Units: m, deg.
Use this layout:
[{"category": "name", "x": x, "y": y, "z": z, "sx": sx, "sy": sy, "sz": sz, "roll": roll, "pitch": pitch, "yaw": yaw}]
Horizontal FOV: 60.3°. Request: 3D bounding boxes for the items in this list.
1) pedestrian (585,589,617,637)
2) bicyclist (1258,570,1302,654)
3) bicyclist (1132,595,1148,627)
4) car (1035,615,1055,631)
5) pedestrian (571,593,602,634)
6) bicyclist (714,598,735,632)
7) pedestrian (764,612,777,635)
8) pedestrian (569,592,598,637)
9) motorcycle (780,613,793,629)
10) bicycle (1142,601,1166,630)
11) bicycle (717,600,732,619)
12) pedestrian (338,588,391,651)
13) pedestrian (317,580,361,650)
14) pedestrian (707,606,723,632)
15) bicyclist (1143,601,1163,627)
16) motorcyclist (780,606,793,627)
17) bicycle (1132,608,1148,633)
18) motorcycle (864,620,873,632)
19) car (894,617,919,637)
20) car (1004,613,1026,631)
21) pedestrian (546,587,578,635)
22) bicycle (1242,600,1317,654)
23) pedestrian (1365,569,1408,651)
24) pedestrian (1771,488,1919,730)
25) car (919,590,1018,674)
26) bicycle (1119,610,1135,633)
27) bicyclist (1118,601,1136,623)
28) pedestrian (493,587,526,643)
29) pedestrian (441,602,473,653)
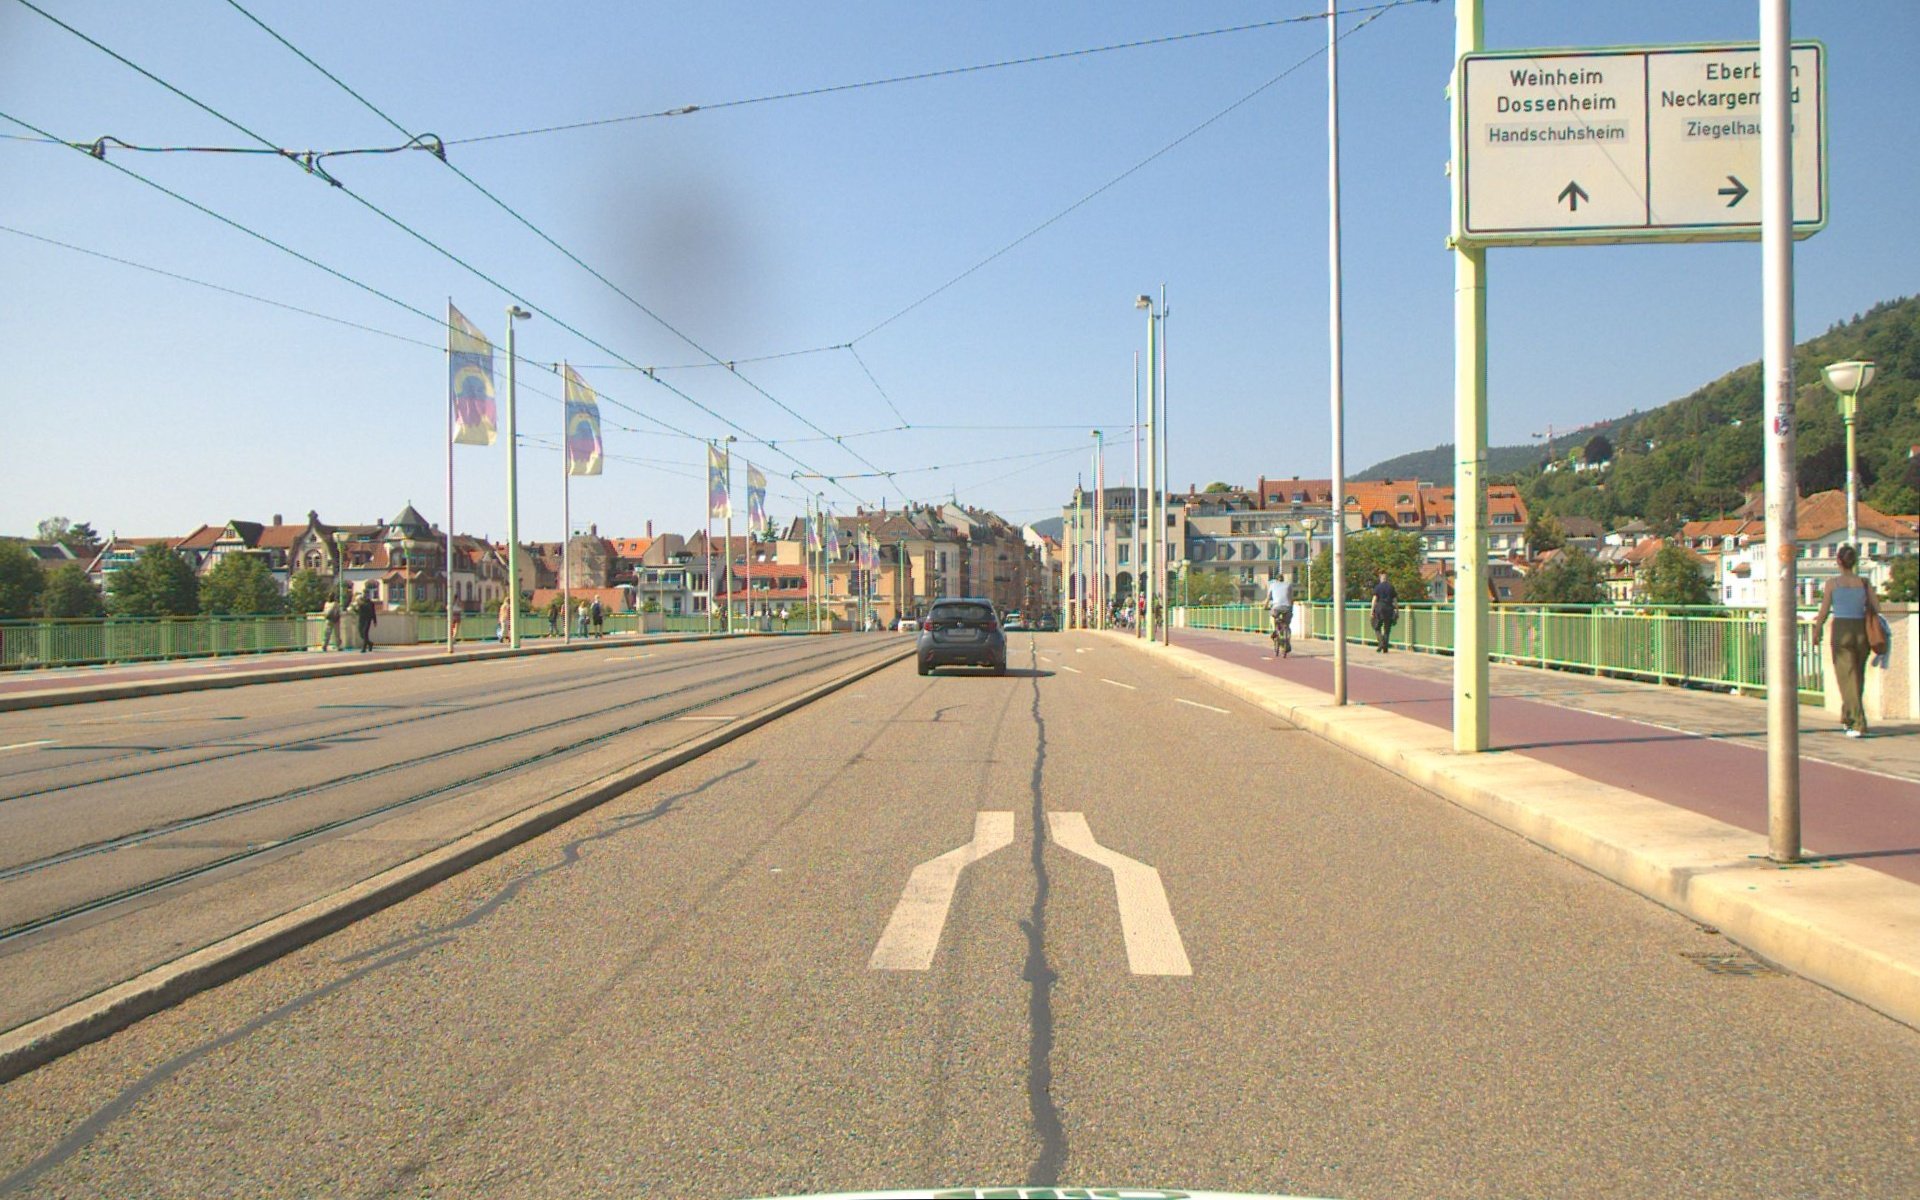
[{"category": "pedestrian", "x": -15.654, "y": 0.553, "z": 72.118, "sx": 1.075, "sy": 2.049, "sz": 1.295, "roll": 0, "pitch": 0, "yaw": 0}, {"category": "bicyclist", "x": 6.911, "y": 0.256, "z": 35.721, "sx": 0.659, "sy": 1.774, "sz": 1.150, "roll": -1, "pitch": 0, "yaw": -2}, {"category": "bicyclist", "x": 9.360, "y": 0.592, "z": 86.105, "sx": 0.720, "sy": 1.664, "sz": 0.867, "roll": -1, "pitch": -1, "yaw": 0}, {"category": "car", "x": 8.351, "y": 2.262, "z": 161.931, "sx": 1.766, "sy": 1.494, "sz": 4.002, "roll": -2, "pitch": -1, "yaw": 4}, {"category": "pedestrian", "x": -16.203, "y": 0.582, "z": 71.771, "sx": 1.075, "sy": 1.759, "sz": 1.295, "roll": 0, "pitch": 0, "yaw": 0}, {"category": "bicyclist", "x": -14.083, "y": 0.900, "z": 99.061, "sx": 1.075, "sy": 1.996, "sz": 1.129, "roll": 0, "pitch": 0, "yaw": 0}, {"category": "pedestrian", "x": -14.833, "y": 1.829, "z": 129.712, "sx": 0.813, "sy": 1.752, "sz": 1.094, "roll": -1, "pitch": -1, "yaw": 2}, {"category": "pedestrian", "x": -17.474, "y": 0.680, "z": 76.836, "sx": 1.075, "sy": 2.049, "sz": 1.129, "roll": 0, "pitch": 0, "yaw": 0}, {"category": "motorcycle", "x": -12.805, "y": 1.561, "z": 122.023, "sx": 0.686, "sy": 1.129, "sz": 2.179, "roll": -1, "pitch": -1, "yaw": 2}, {"category": "bicycle", "x": 8.249, "y": 0.675, "z": 70.410, "sx": 0.681, "sy": 1.214, "sz": 2.078, "roll": -1, "pitch": -1, "yaw": -3}, {"category": "bicycle", "x": -14.087, "y": 0.586, "z": 99.070, "sx": 0.576, "sy": 1.116, "sz": 2.113, "roll": 0, "pitch": 0, "yaw": 0}, {"category": "pedestrian", "x": -17.274, "y": 0.560, "z": 48.004, "sx": 1.075, "sy": 1.789, "sz": 1.295, "roll": 0, "pitch": 0, "yaw": -1}, {"category": "pedestrian", "x": -18.324, "y": 0.433, "z": 48.844, "sx": 0.880, "sy": 2.049, "sz": 1.042, "roll": 0, "pitch": 0, "yaw": 0}, {"category": "pedestrian", "x": -16.433, "y": 1.280, "z": 111.025, "sx": 0.880, "sy": 1.687, "sz": 1.029, "roll": 0, "pitch": -1, "yaw": 4}, {"category": "bicyclist", "x": 8.219, "y": 0.594, "z": 70.558, "sx": 0.653, "sy": 1.063, "sz": 0.979, "roll": 0, "pitch": -1, "yaw": -4}, {"category": "motorcyclist", "x": -12.788, "y": 1.230, "z": 122.046, "sx": 0.784, "sy": 1.576, "sz": 1.069, "roll": -1, "pitch": -1, "yaw": 2}, {"category": "bicycle", "x": 9.363, "y": 1.079, "z": 85.981, "sx": 0.605, "sy": 1.293, "sz": 2.216, "roll": -1, "pitch": -1, "yaw": 1}, {"category": "motorcycle", "x": -8.413, "y": 2.411, "z": 152.376, "sx": 0.686, "sy": 1.129, "sz": 2.179, "roll": -1, "pitch": -1, "yaw": 2}, {"category": "car", "x": -4.945, "y": 2.462, "z": 151.797, "sx": 1.955, "sy": 1.433, "sz": 4.544, "roll": -5, "pitch": 2, "yaw": -4}, {"category": "car", "x": 4.953, "y": 1.981, "z": 148.915, "sx": 1.767, "sy": 1.494, "sz": 3.999, "roll": -2, "pitch": -1, "yaw": 0}, {"category": "pedestrian", "x": -17.365, "y": 0.473, "z": 72.170, "sx": 1.075, "sy": 2.049, "sz": 1.129, "roll": 0, "pitch": 0, "yaw": 0}, {"category": "bicycle", "x": 6.911, "y": 0.561, "z": 35.981, "sx": 0.776, "sy": 1.115, "sz": 3.743, "roll": -1, "pitch": 0, "yaw": -2}, {"category": "pedestrian", "x": 9.359, "y": 0.208, "z": 36.319, "sx": 0.641, "sy": 1.774, "sz": 0.978, "roll": 0, "pitch": 1, "yaw": -3}, {"category": "pedestrian", "x": 7.859, "y": 0.079, "z": 14.555, "sx": 0.856, "sy": 2.049, "sz": 1.058, "roll": 0, "pitch": -1, "yaw": -3}, {"category": "car", "x": 0.156, "y": 0.604, "z": 33.438, "sx": 1.871, "sy": 1.567, "sz": 4.000, "roll": 1, "pitch": 0, "yaw": 0}, {"category": "bicycle", "x": 7.931, "y": 1.021, "z": 78.589, "sx": 0.605, "sy": 1.056, "sz": 2.051, "roll": -1, "pitch": -1, "yaw": 1}, {"category": "bicyclist", "x": 7.920, "y": 0.574, "z": 78.521, "sx": 0.720, "sy": 1.048, "sz": 1.175, "roll": -1, "pitch": -1, "yaw": 0}, {"category": "pedestrian", "x": -16.575, "y": 0.550, "z": 60.871, "sx": 0.949, "sy": 2.049, "sz": 1.101, "roll": 0, "pitch": 0, "yaw": -3}, {"category": "pedestrian", "x": -17.699, "y": 0.971, "z": 58.232, "sx": 0.739, "sy": 1.752, "sz": 1.175, "roll": 0, "pitch": -1, "yaw": 0}]
